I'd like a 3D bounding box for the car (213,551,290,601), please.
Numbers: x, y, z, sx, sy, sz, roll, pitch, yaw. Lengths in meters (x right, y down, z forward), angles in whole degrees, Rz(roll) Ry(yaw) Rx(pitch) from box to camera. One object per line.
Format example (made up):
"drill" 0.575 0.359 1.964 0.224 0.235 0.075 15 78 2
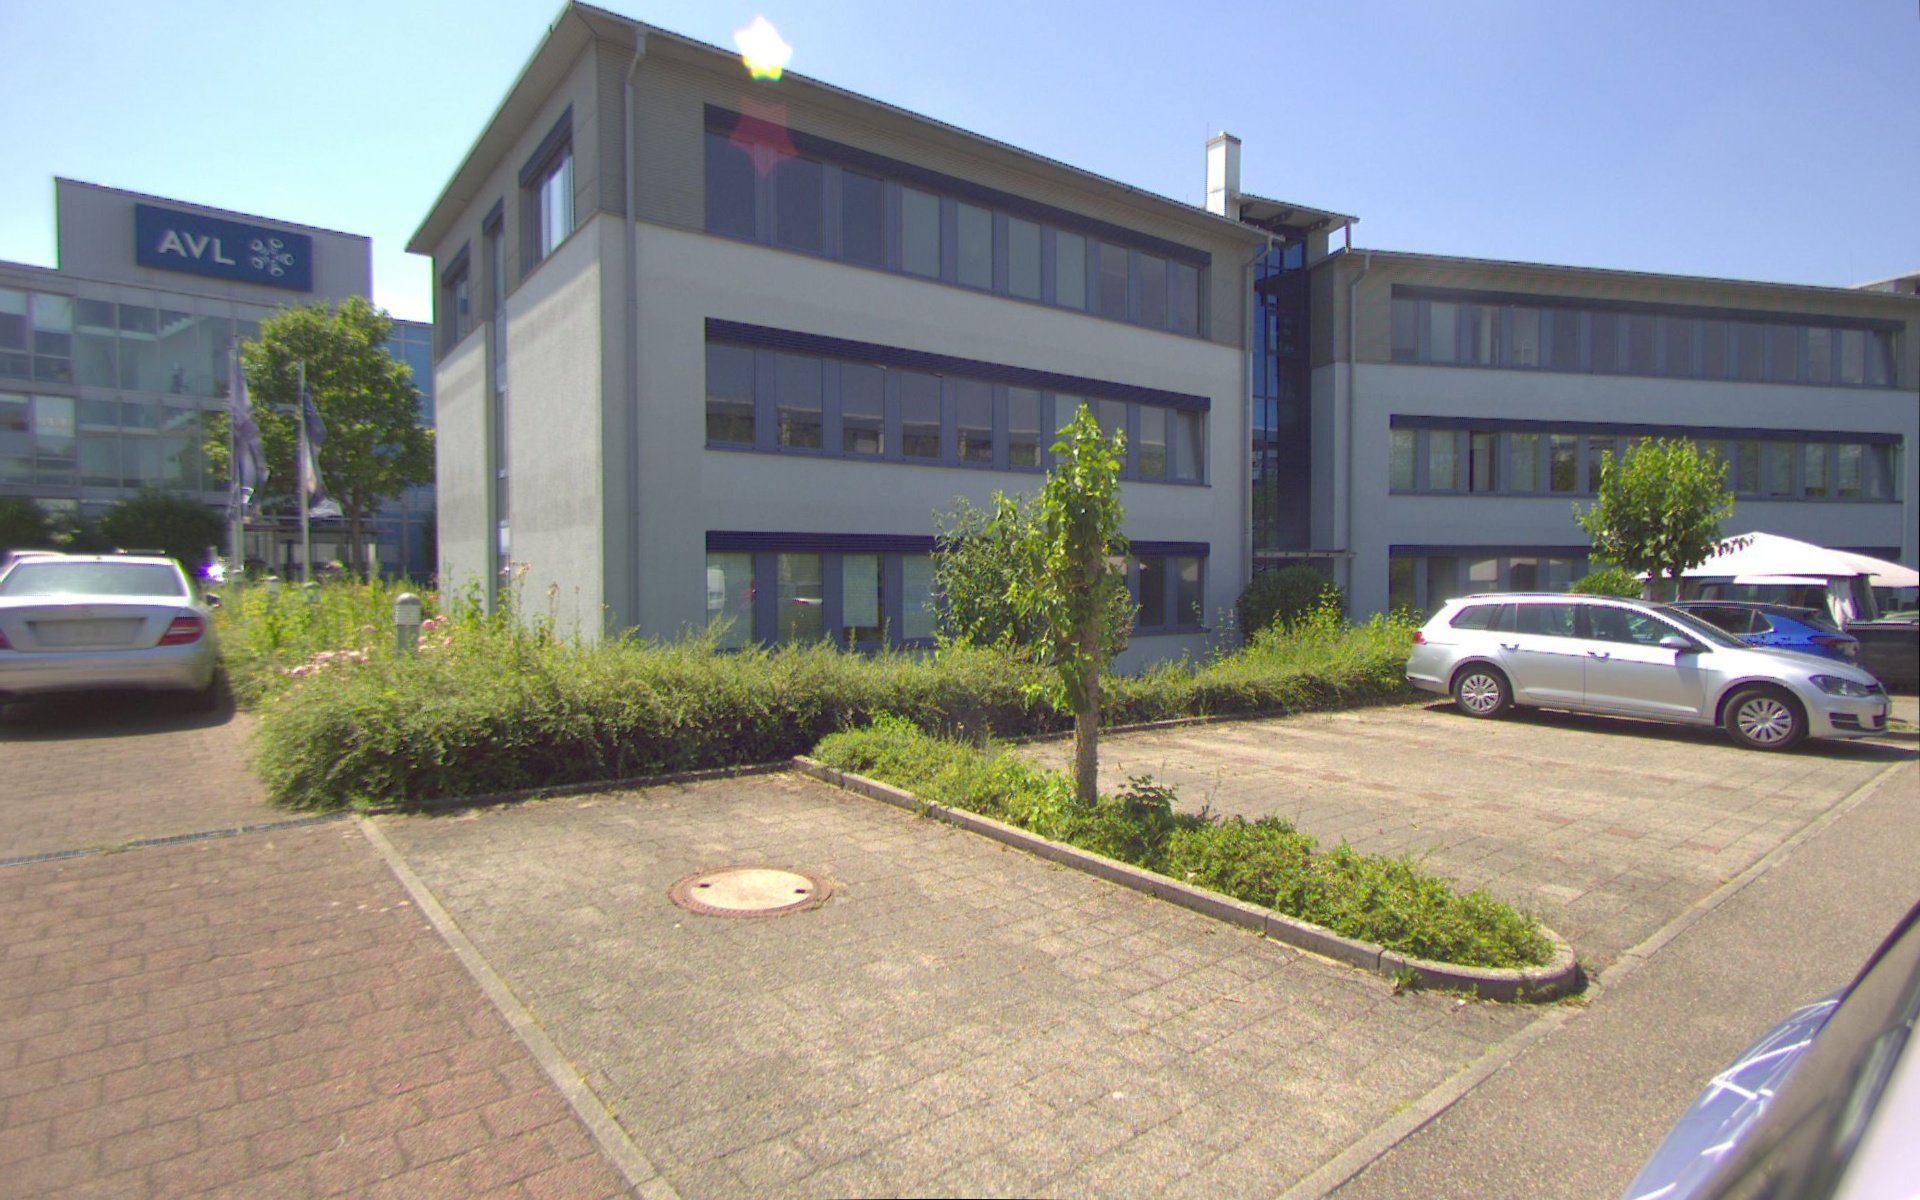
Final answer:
"car" -23.230 -0.786 33.125 1.719 1.538 3.995 0 1 -40

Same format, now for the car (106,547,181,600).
"car" -25.328 -0.815 31.365 1.719 1.538 3.995 0 1 -40

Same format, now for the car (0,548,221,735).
"car" -8.217 0.287 9.663 1.699 1.454 3.713 0 1 -39

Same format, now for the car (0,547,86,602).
"car" -27.439 -0.756 30.133 3.986 1.538 1.723 1 1 43

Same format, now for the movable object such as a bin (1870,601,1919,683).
"movable object such as a bin" 15.971 0.692 16.602 1.023 1.312 1.365 0 1 -35

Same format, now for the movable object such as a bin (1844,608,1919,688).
"movable object such as a bin" 15.072 0.752 16.064 0.978 1.204 1.365 0 1 -35

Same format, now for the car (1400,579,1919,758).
"car" 7.575 0.569 11.327 1.797 1.515 4.514 0 2 -41

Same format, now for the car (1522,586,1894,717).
"car" 10.069 0.580 13.860 1.623 1.409 3.822 0 2 -41
